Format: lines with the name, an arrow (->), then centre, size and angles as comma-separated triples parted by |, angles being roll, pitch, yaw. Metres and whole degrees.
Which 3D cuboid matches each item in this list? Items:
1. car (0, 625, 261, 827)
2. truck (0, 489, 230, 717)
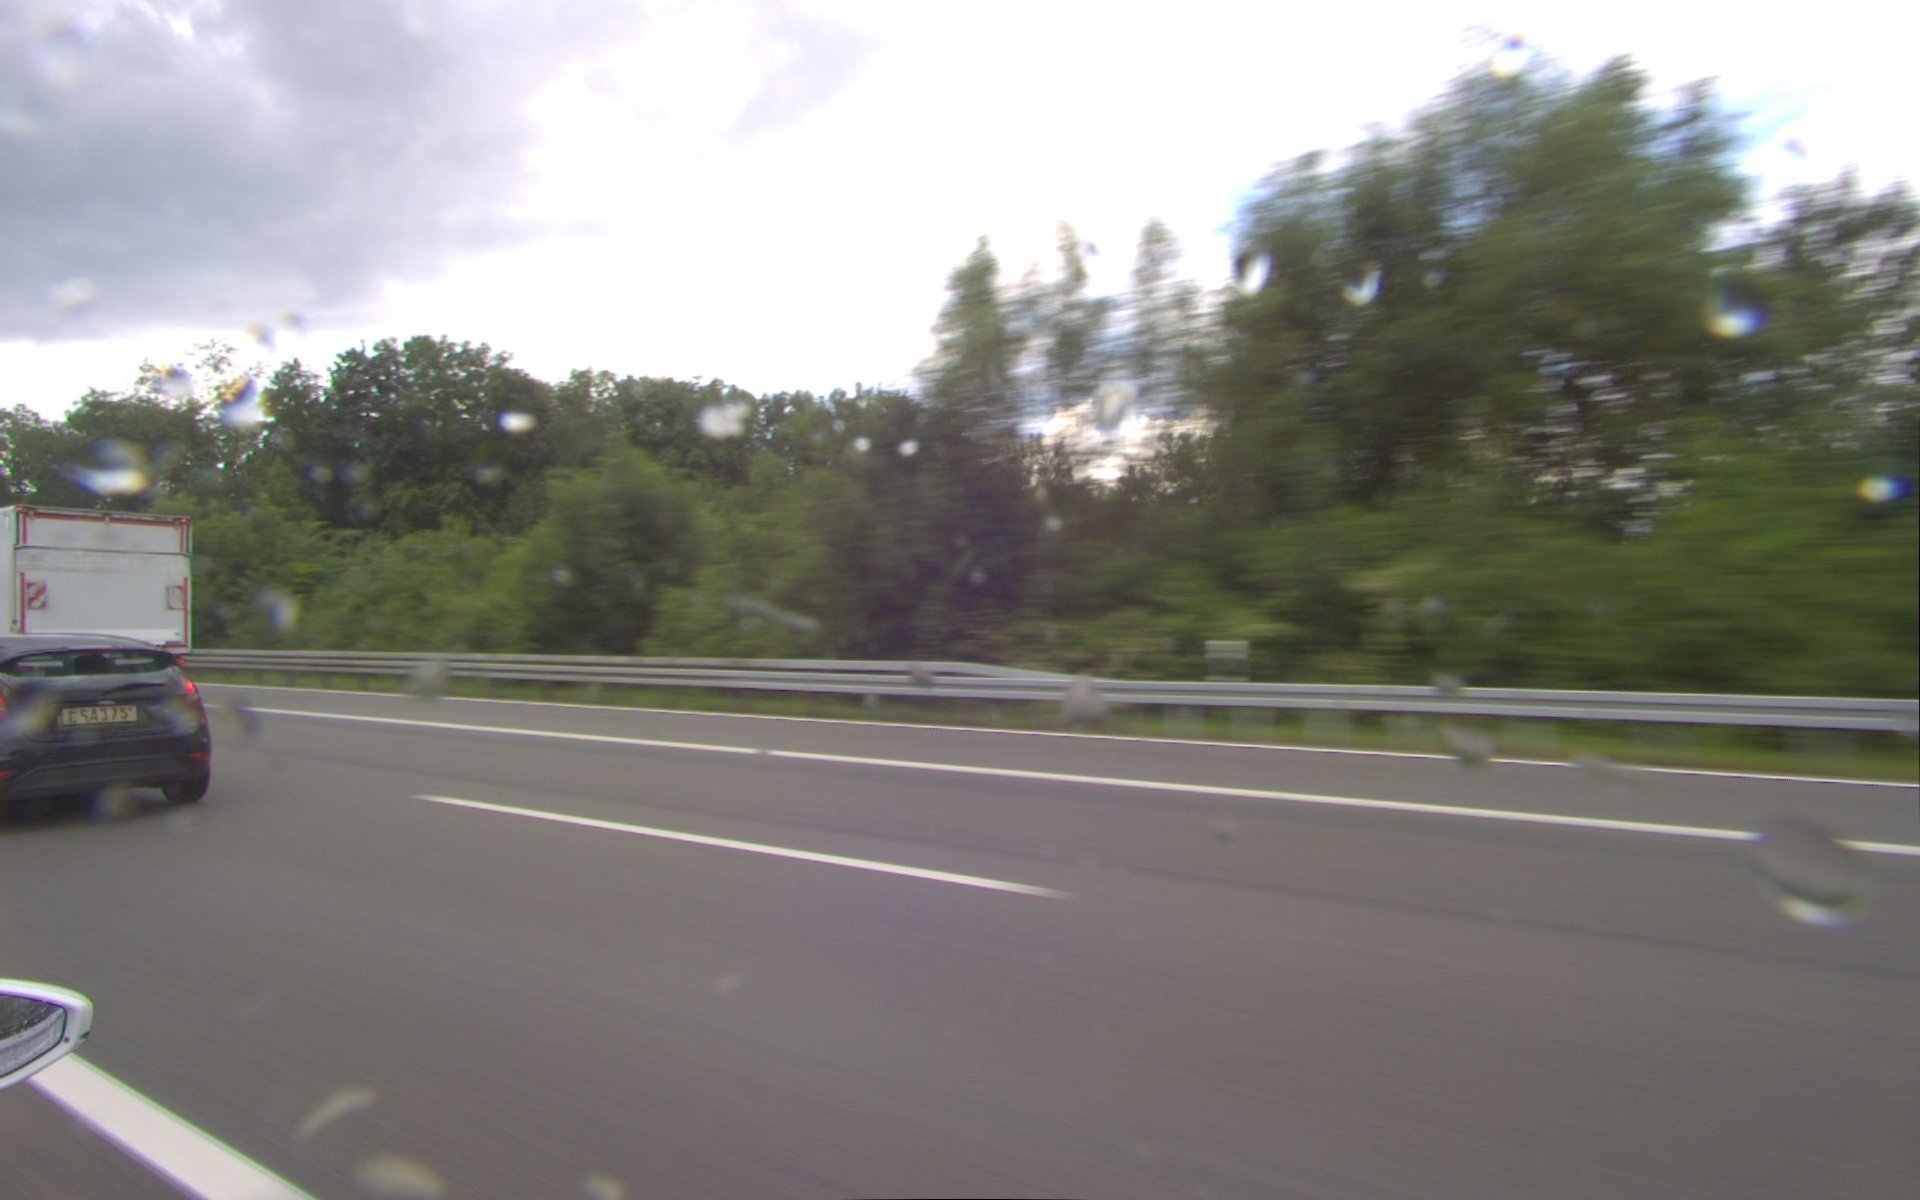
car -> -8.190, 0.932, 8.809 | 4.221, 1.425, 1.881 | -1, -1, 32
truck -> -18.888, 0.136, 20.508 | 9.708, 3.757, 3.127 | -1, -1, 33
